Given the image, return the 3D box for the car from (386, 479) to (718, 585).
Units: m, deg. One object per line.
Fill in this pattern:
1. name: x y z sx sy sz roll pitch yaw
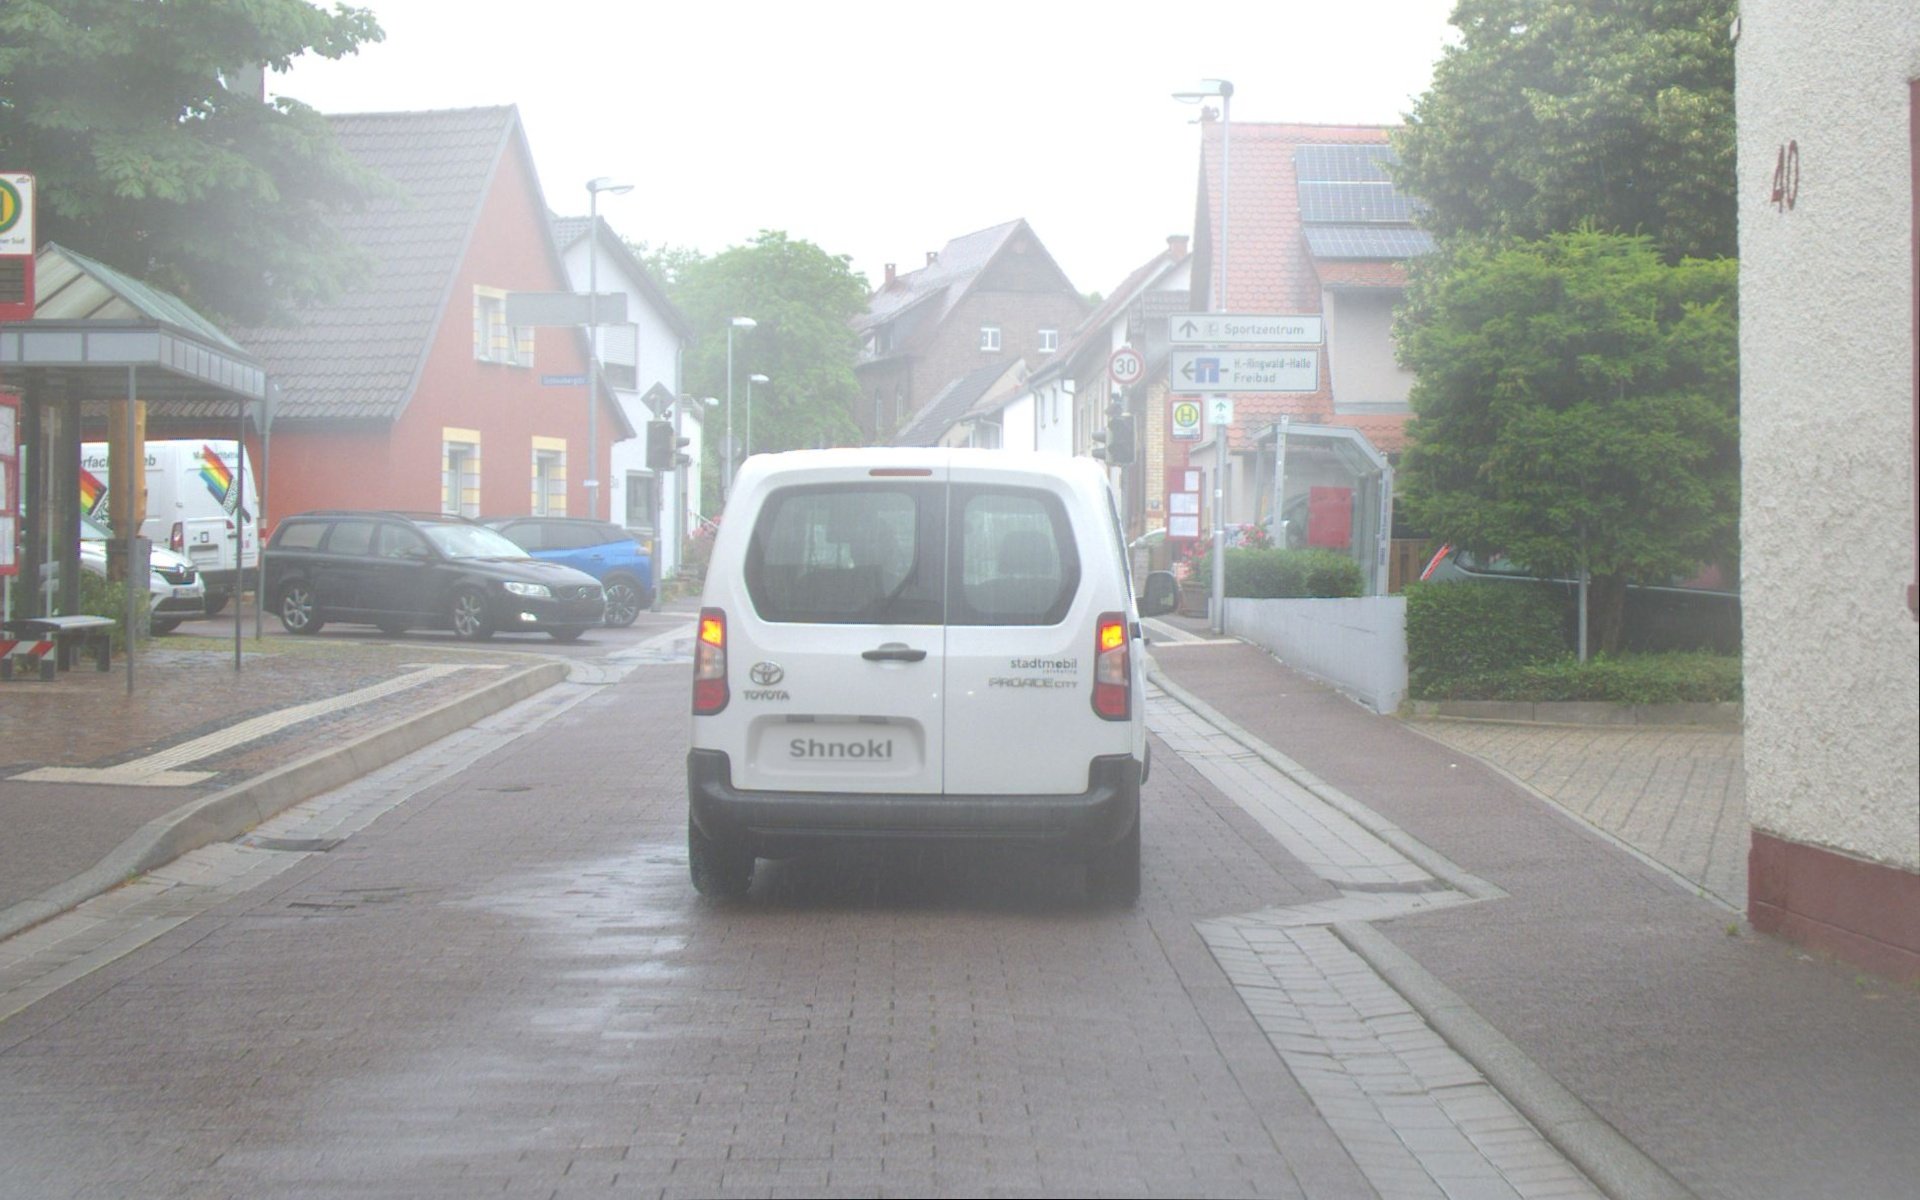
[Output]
1. car: -5.568 -0.907 47.029 3.988 1.368 2.110 0 0 -38

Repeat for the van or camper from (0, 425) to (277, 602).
1. van or camper: -12.570 -1.253 49.269 5.149 2.427 2.208 1 2 25

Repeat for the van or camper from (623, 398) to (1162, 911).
1. van or camper: -0.312 0.146 14.864 1.943 1.844 4.001 2 2 -2

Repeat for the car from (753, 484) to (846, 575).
1. car: -3.208 -1.438 69.138 1.812 1.773 4.018 0 2 -2

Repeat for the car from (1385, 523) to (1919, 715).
1. car: 5.771 0.126 28.608 4.231 1.475 1.694 1 1 15

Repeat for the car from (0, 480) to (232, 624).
1. car: -11.186 -0.628 41.225 4.451 1.544 1.881 3 3 20

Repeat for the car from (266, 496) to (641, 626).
1. car: -6.081 -0.496 41.100 4.308 1.472 1.846 1 2 34
